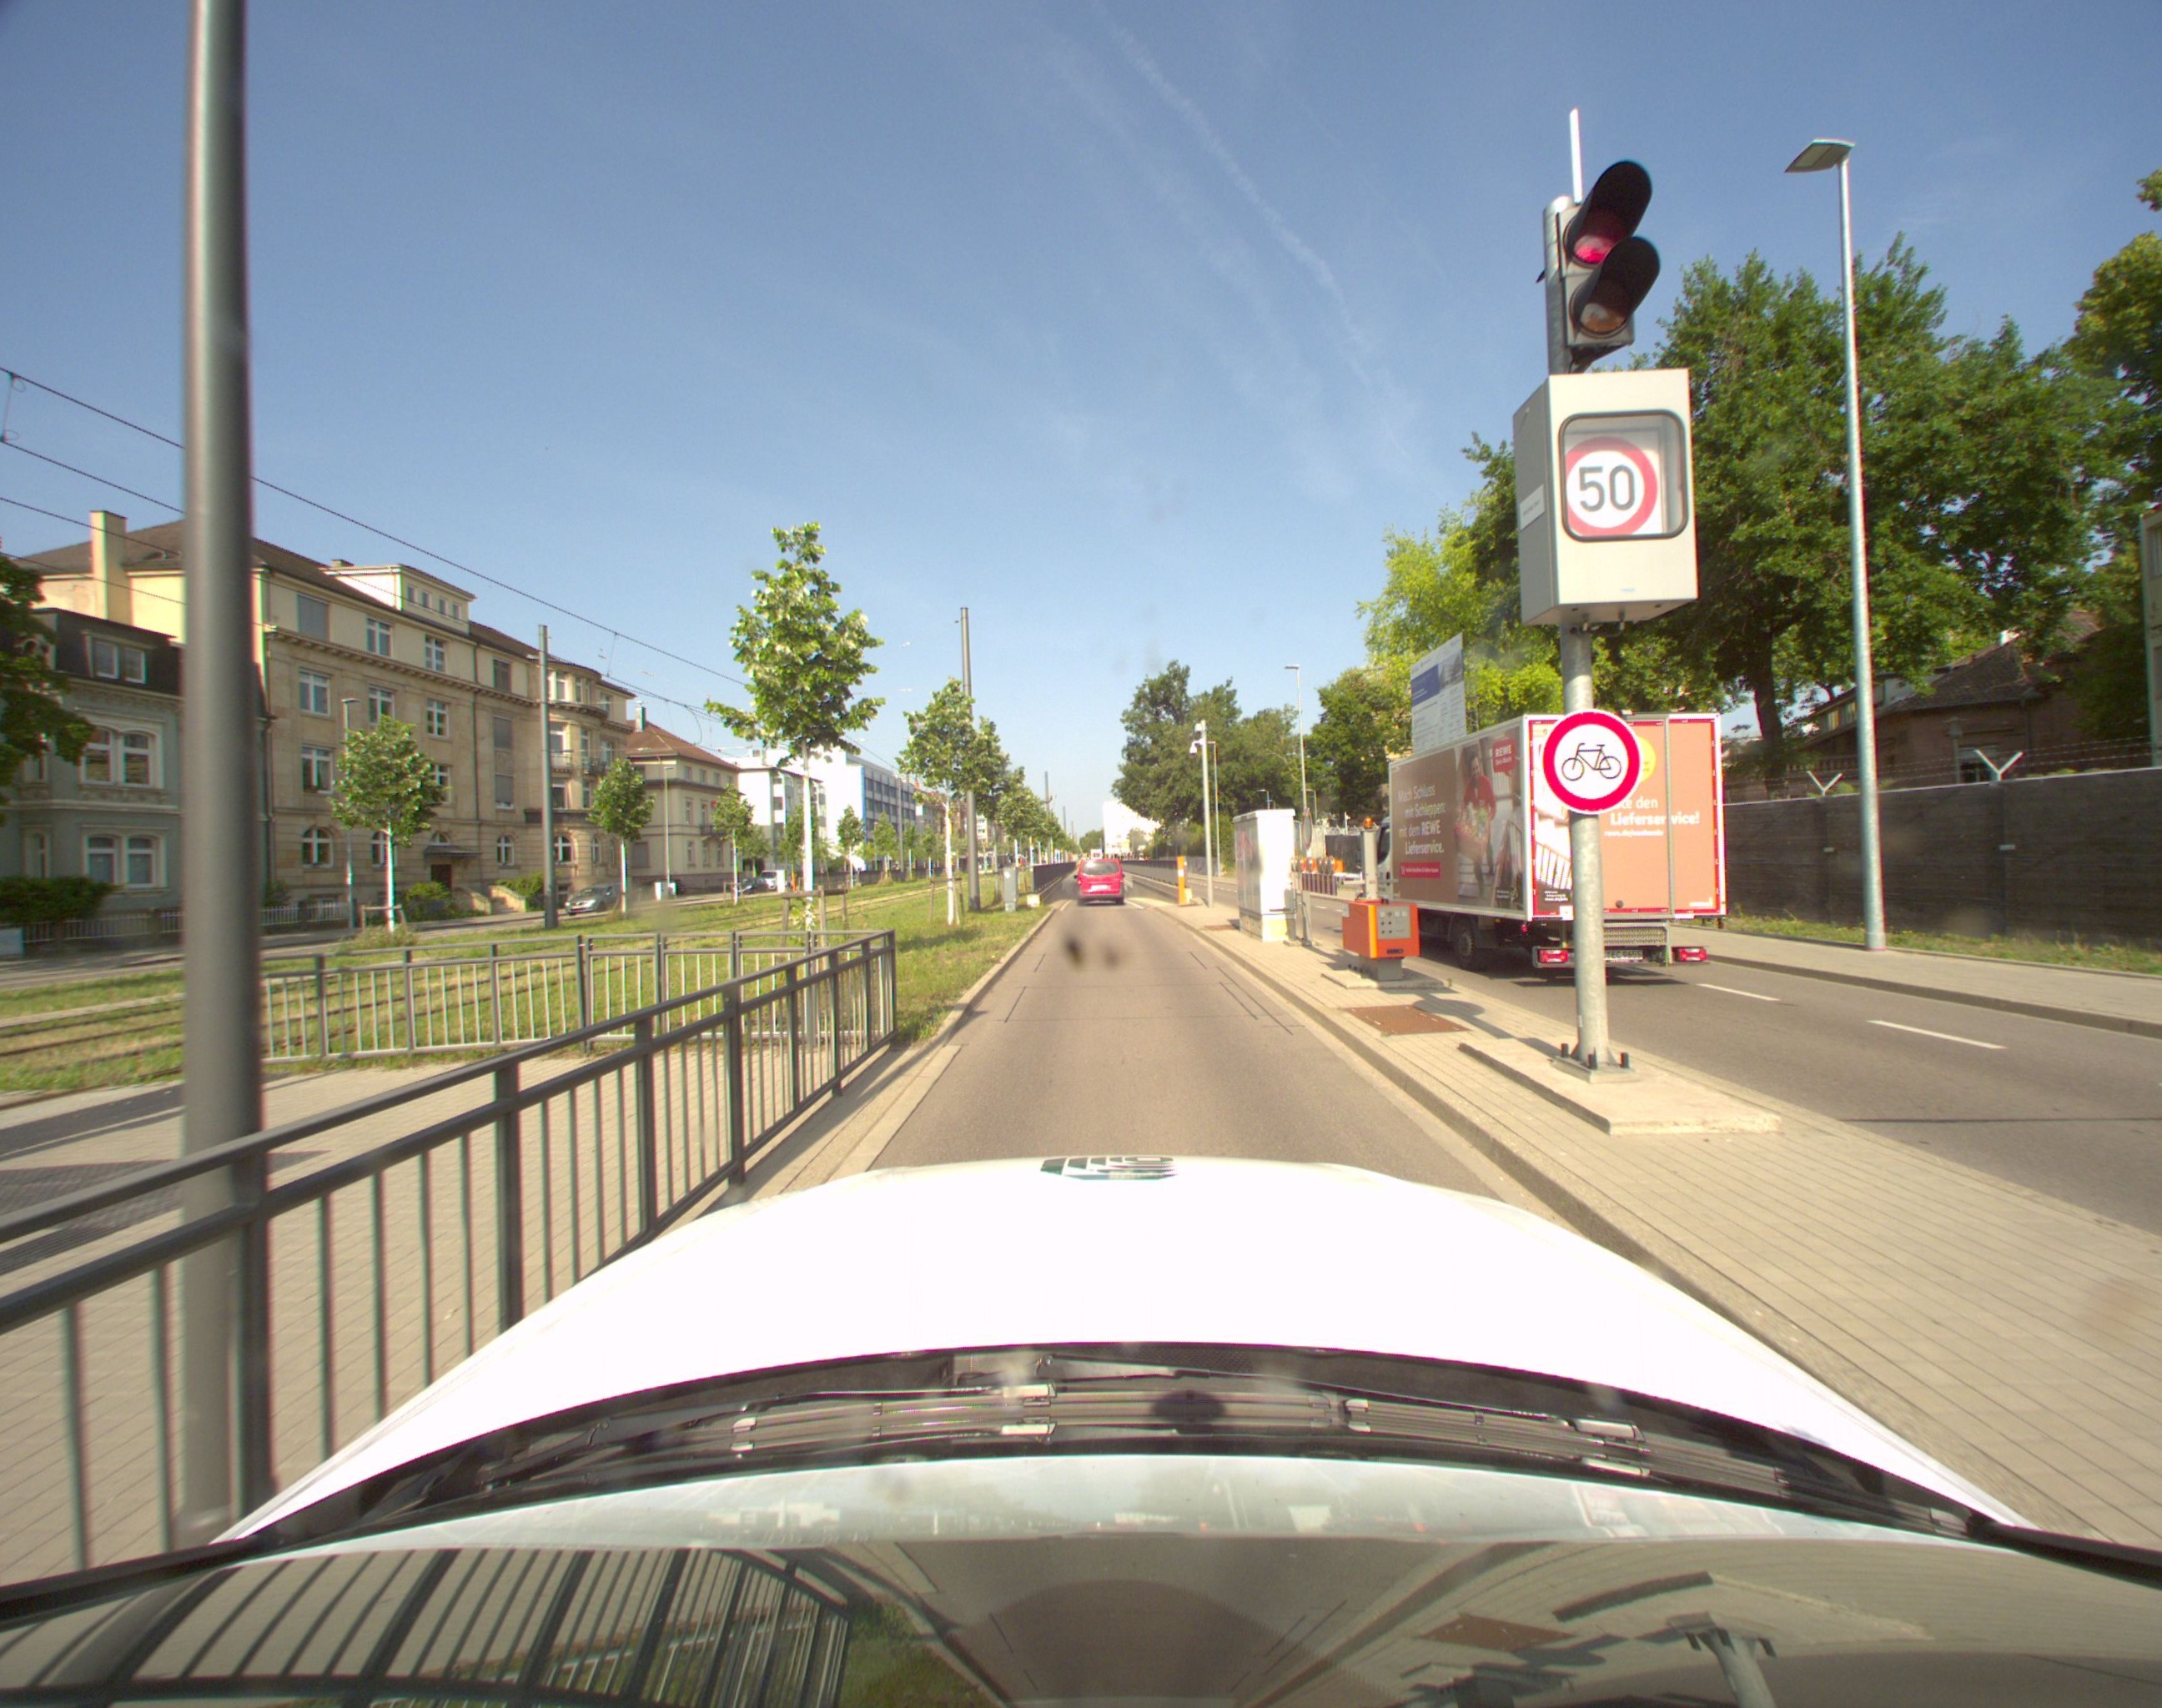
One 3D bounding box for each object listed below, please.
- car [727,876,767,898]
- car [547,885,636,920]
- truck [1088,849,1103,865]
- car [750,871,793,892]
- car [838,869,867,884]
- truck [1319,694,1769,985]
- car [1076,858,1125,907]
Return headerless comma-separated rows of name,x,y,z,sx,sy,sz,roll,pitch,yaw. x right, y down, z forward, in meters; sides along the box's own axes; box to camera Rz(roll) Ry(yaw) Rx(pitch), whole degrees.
car,-26.179,2.552,63.972,1.514,1.464,3.823,-3,1,-1
car,-26.211,2.568,43.838,1.987,1.577,4.528,-3,0,0
truck,3.528,0.745,198.237,3.380,3.726,10.450,-3,-1,0
car,-30.540,2.721,80.642,2.243,2.014,5.260,0,-2,-1
car,-26.326,2.587,94.042,1.986,1.467,4.439,-2,0,1
truck,6.025,-0.097,12.507,2.494,3.061,7.819,0,-1,0
car,0.830,1.125,33.455,1.893,1.859,4.002,-1,0,2
